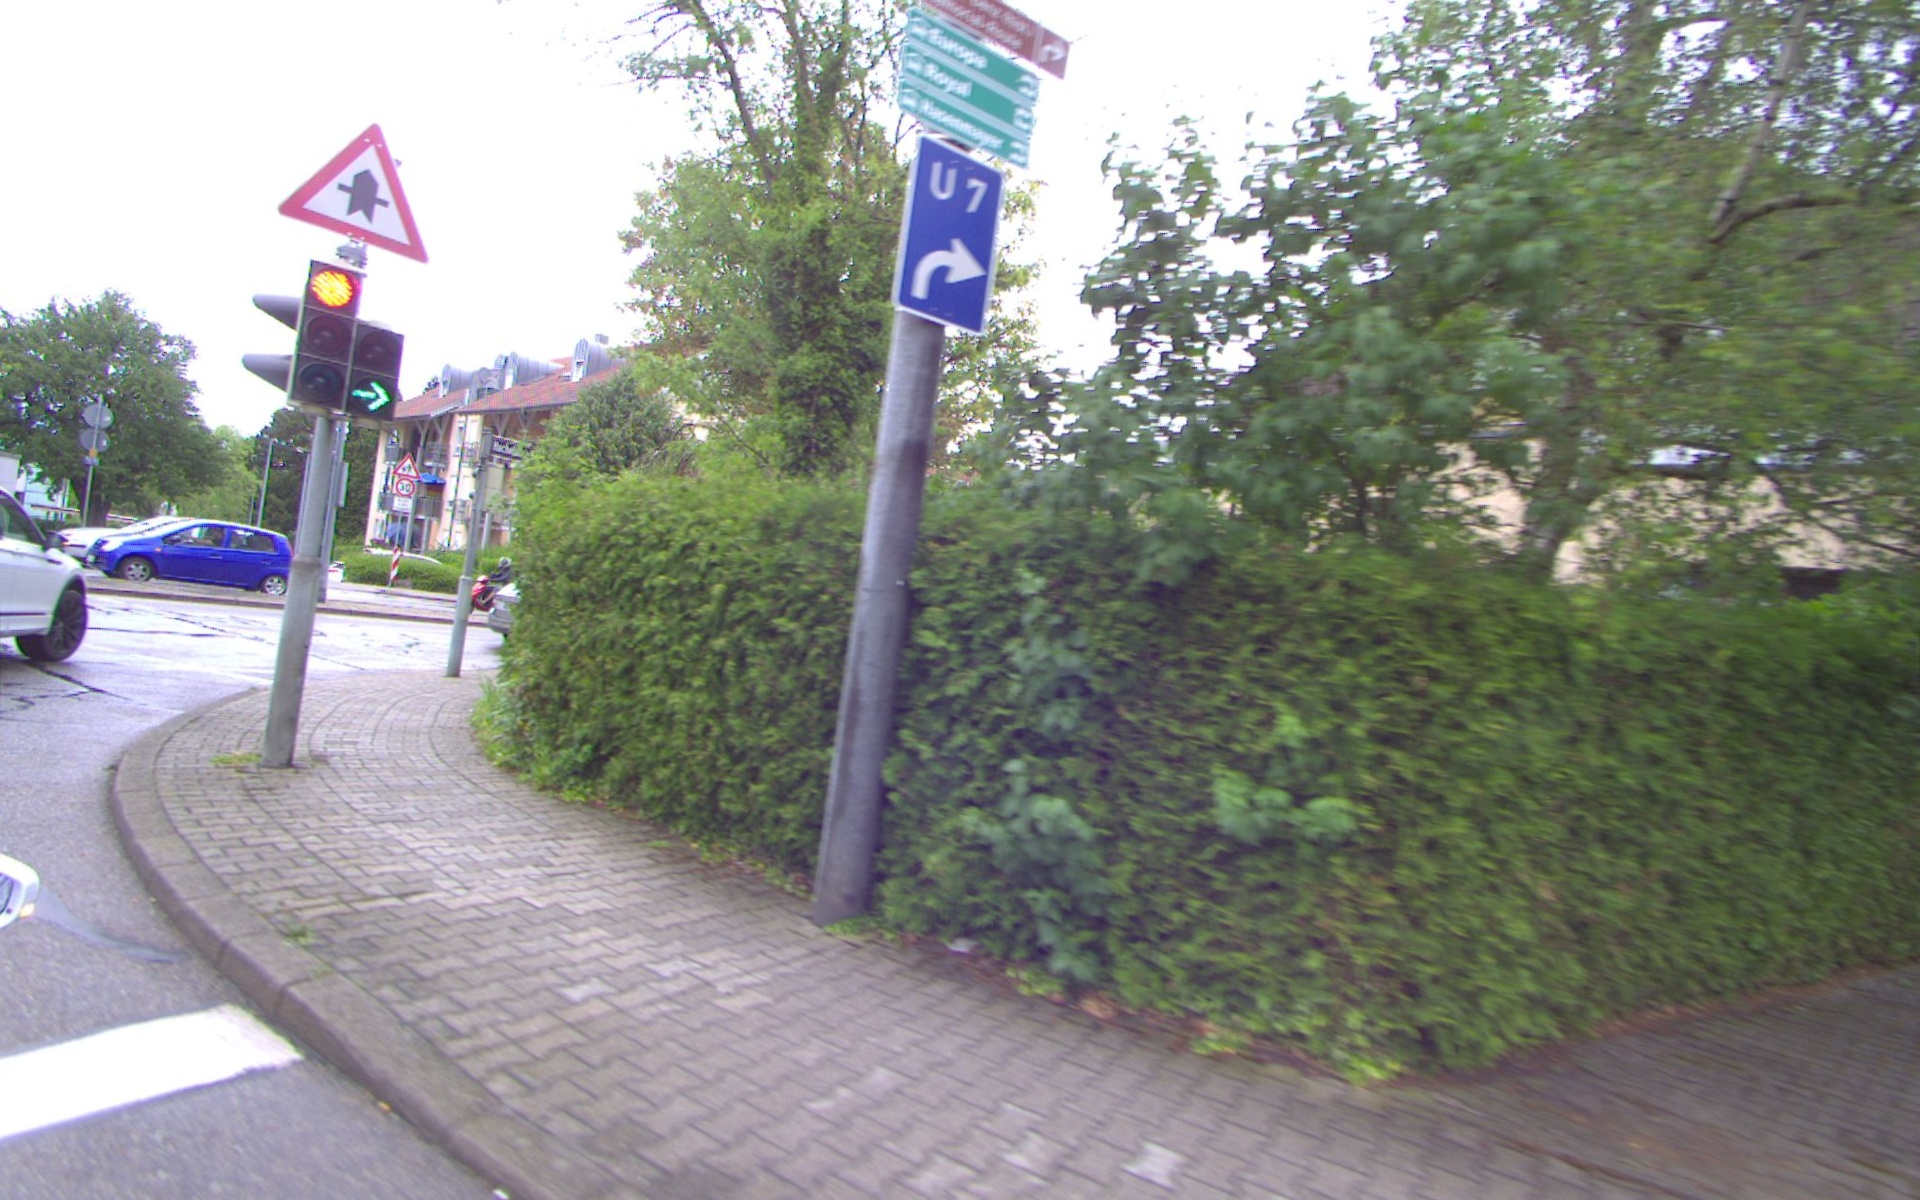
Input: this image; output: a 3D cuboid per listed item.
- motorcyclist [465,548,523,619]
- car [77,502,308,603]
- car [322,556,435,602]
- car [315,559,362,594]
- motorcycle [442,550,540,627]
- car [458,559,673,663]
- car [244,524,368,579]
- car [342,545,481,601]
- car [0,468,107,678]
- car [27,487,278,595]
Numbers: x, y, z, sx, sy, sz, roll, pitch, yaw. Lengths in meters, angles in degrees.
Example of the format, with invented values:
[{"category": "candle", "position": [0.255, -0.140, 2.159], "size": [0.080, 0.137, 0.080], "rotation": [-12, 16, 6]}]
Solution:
[{"category": "motorcyclist", "position": [-11.931, -0.418, 25.751], "size": [0.935, 1.642, 0.763], "rotation": [10, -3, -44]}, {"category": "car", "position": [-15.857, -0.937, 20.915], "size": [1.501, 1.473, 3.431], "rotation": [9, -1, 37]}, {"category": "car", "position": [-24.860, -0.880, 43.052], "size": [3.835, 1.425, 1.746], "rotation": [8, -1, -41]}, {"category": "car", "position": [-32.543, -1.244, 52.617], "size": [1.750, 1.425, 3.825], "rotation": [7, 0, -35]}, {"category": "motorcycle", "position": [-11.970, -0.277, 25.726], "size": [0.787, 1.642, 1.913], "rotation": [7, -4, 45]}, {"category": "car", "position": [-7.863, 0.313, 20.491], "size": [1.738, 1.526, 4.005], "rotation": [11, -1, 18]}, {"category": "car", "position": [-41.768, -3.067, 64.393], "size": [2.815, 2.224, 5.996], "rotation": [8, -3, 45]}, {"category": "car", "position": [-20.474, -1.006, 37.634], "size": [4.174, 1.455, 1.803], "rotation": [9, -3, -40]}, {"category": "car", "position": [-8.808, -0.351, 8.024], "size": [1.906, 1.741, 4.237], "rotation": [10, -2, -27]}, {"category": "car", "position": [-18.951, -1.322, 23.820], "size": [1.964, 1.688, 4.001], "rotation": [11, -1, 26]}]
